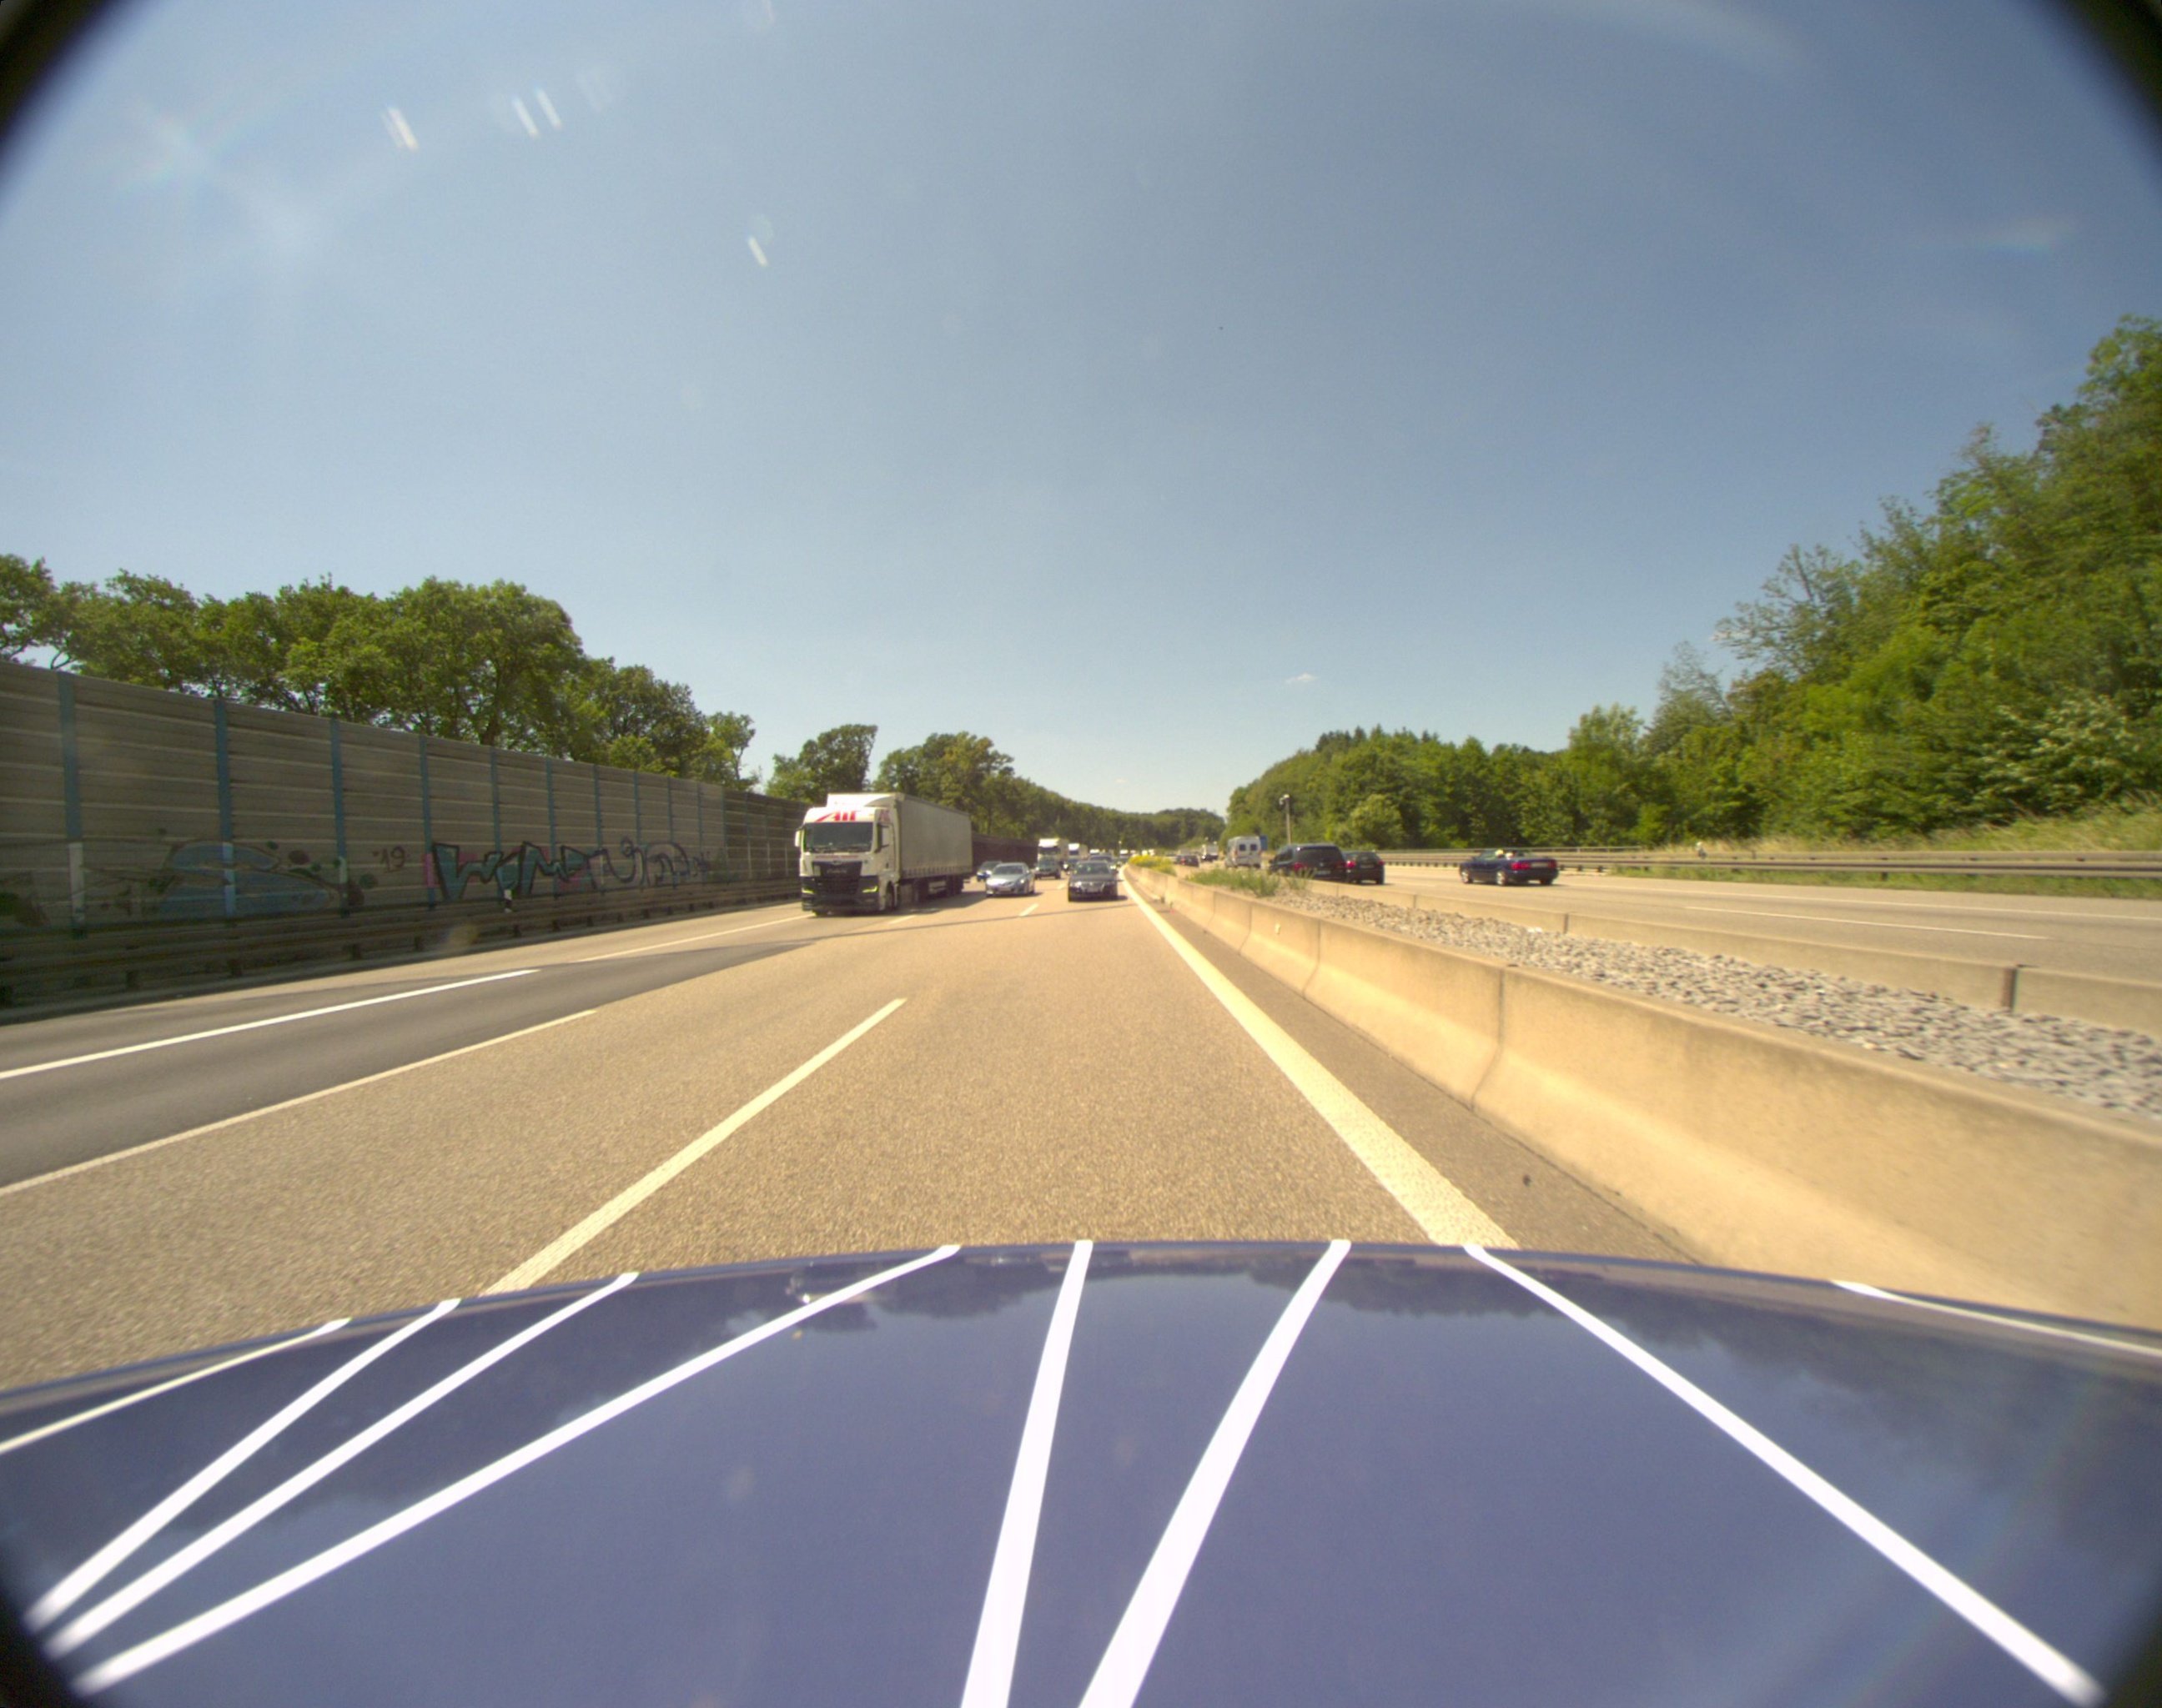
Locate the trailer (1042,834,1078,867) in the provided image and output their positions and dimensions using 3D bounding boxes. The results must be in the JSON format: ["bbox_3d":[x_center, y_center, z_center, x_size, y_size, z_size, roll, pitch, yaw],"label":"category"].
[{"bbox_3d":[-2.702,-0.453,103.158,2.820,4.190,13.471,-2,0,7],"label":"trailer"}]

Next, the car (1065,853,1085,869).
[{"bbox_3d":[-0.655,0.789,84.278,1.998,1.641,4.000,-2,0,2],"label":"car"}]

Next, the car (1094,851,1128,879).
[{"bbox_3d":[1.912,0.663,47.620,1.998,1.641,4.001,-2,0,3],"label":"car"}]

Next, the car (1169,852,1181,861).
[{"bbox_3d":[17.757,0.426,143.558,1.846,1.537,4.001,-2,0,4],"label":"car"}]

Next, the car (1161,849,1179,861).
[{"bbox_3d":[11.196,0.126,95.825,1.808,1.518,4.257,-2,0,2],"label":"car"}]

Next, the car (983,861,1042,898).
[{"bbox_3d":[-2.951,1.087,33.468,1.860,1.426,4.178,-2,0,5],"label":"car"}]

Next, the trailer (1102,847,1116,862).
[{"bbox_3d":[8.207,0.091,221.115,3.153,4.061,6.187,-2,0,10],"label":"trailer"}]

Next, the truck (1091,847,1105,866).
[{"bbox_3d":[4.133,0.624,186.631,2.852,4.382,5.242,-2,0,7],"label":"truck"}]

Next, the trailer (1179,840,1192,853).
[{"bbox_3d":[30.858,-2.222,225.464,2.787,3.834,10.172,-2,0,3],"label":"trailer"}]

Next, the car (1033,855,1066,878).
[{"bbox_3d":[-2.256,0.881,55.468,1.907,1.550,4.001,-2,0,3],"label":"car"}]

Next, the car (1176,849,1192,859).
[{"bbox_3d":[15.597,0.036,115.263,1.847,1.412,4.234,-2,0,2],"label":"car"}]

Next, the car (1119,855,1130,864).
[{"bbox_3d":[8.964,1.080,156.440,1.998,1.641,4.001,-2,0,5],"label":"car"}]

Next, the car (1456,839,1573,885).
[{"bbox_3d":[15.110,0.275,26.747,1.844,1.444,4.000,-2,0,1],"label":"car"}]

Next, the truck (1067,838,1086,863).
[{"bbox_3d":[-0.708,-0.624,132.973,2.544,4.149,4.747,-2,0,7],"label":"truck"}]

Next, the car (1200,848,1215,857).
[{"bbox_3d":[20.573,-0.251,123.710,1.998,1.472,4.691,-2,0,3],"label":"car"}]

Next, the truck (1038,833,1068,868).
[{"bbox_3d":[-3.473,-0.427,96.476,2.811,4.190,5.424,-2,0,6],"label":"truck"}]

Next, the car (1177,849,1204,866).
[{"bbox_3d":[9.986,0.325,69.589,1.880,1.402,4.412,-2,0,2],"label":"car"}]

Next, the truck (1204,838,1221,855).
[{"bbox_3d":[27.210,-1.563,157.722,2.741,3.454,7.317,-2,0,5],"label":"truck"}]

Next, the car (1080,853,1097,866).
[{"bbox_3d":[1.036,0.691,102.657,1.998,1.641,4.001,-2,0,5],"label":"car"}]

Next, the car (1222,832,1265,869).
[{"bbox_3d":[12.795,-0.304,60.188,2.221,2.685,6.063,-2,0,2],"label":"car"}]

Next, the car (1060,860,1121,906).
[{"bbox_3d":[0.416,0.963,26.900,1.907,1.410,4.001,-2,0,3],"label":"car"}]

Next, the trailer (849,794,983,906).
[{"bbox_3d":[-6.998,-0.189,34.900,2.604,4.066,13.592,-2,0,2],"label":"trailer"}]

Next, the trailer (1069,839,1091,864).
[{"bbox_3d":[-0.076,-0.413,137.679,2.541,4.149,10.182,-2,0,8],"label":"trailer"}]

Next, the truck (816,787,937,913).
[{"bbox_3d":[-7.239,-0.145,27.704,2.604,4.067,5.553,-2,1,2],"label":"truck"}]

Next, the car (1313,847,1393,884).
[{"bbox_3d":[11.154,0.448,31.501,1.818,1.393,4.271,-2,0,1],"label":"car"}]

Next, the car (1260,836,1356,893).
[{"bbox_3d":[7.624,0.349,25.944,1.998,1.714,4.357,-2,0,1],"label":"car"}]

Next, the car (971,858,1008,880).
[{"bbox_3d":[-6.731,1.088,56.089,1.860,1.484,4.178,-2,0,5],"label":"car"}]
